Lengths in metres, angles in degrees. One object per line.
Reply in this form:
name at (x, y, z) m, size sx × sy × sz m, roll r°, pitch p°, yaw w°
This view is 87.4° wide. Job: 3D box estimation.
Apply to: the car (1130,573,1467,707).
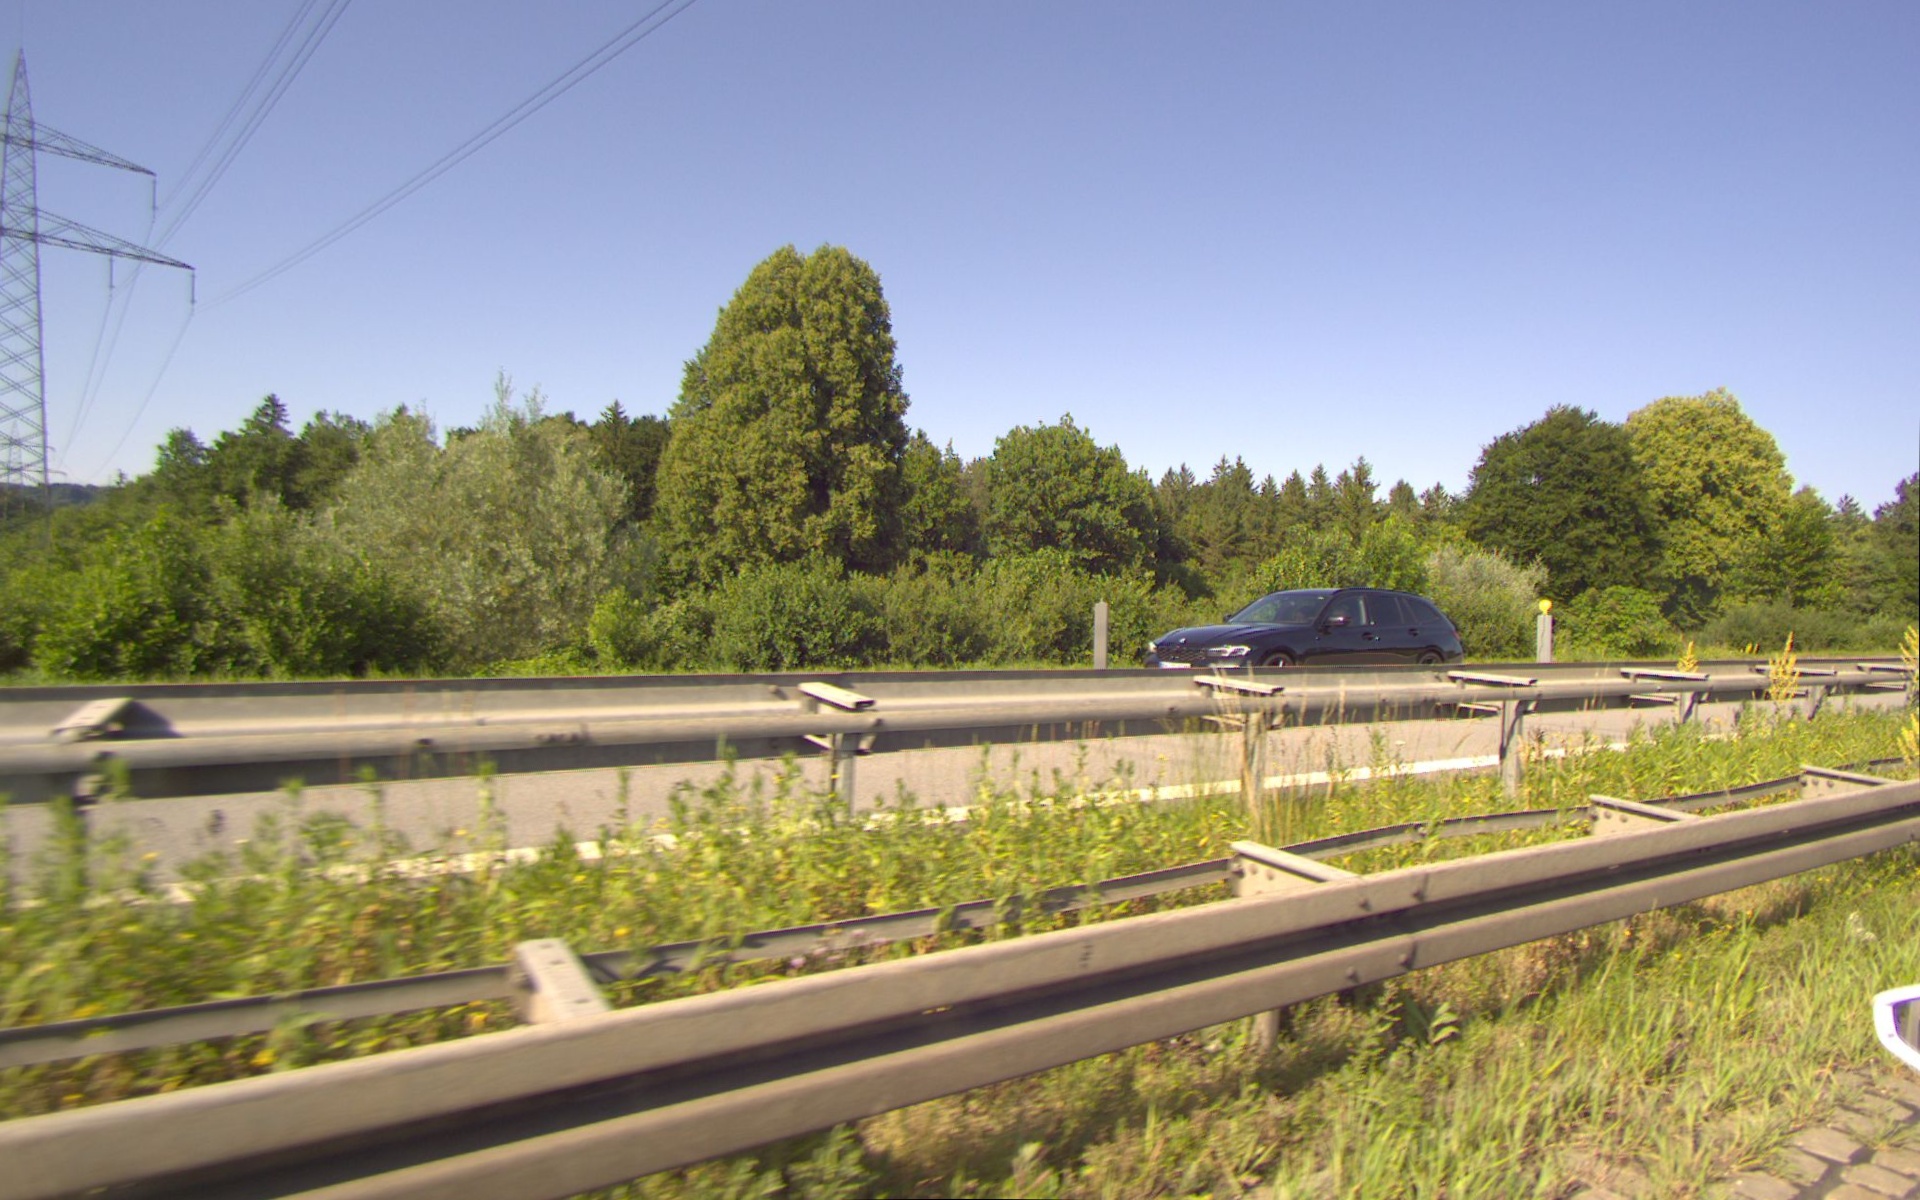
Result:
car at (4.363, 0.483, 12.778) m, size 4.220 × 1.448 × 1.768 m, roll 1°, pitch -1°, yaw -31°
